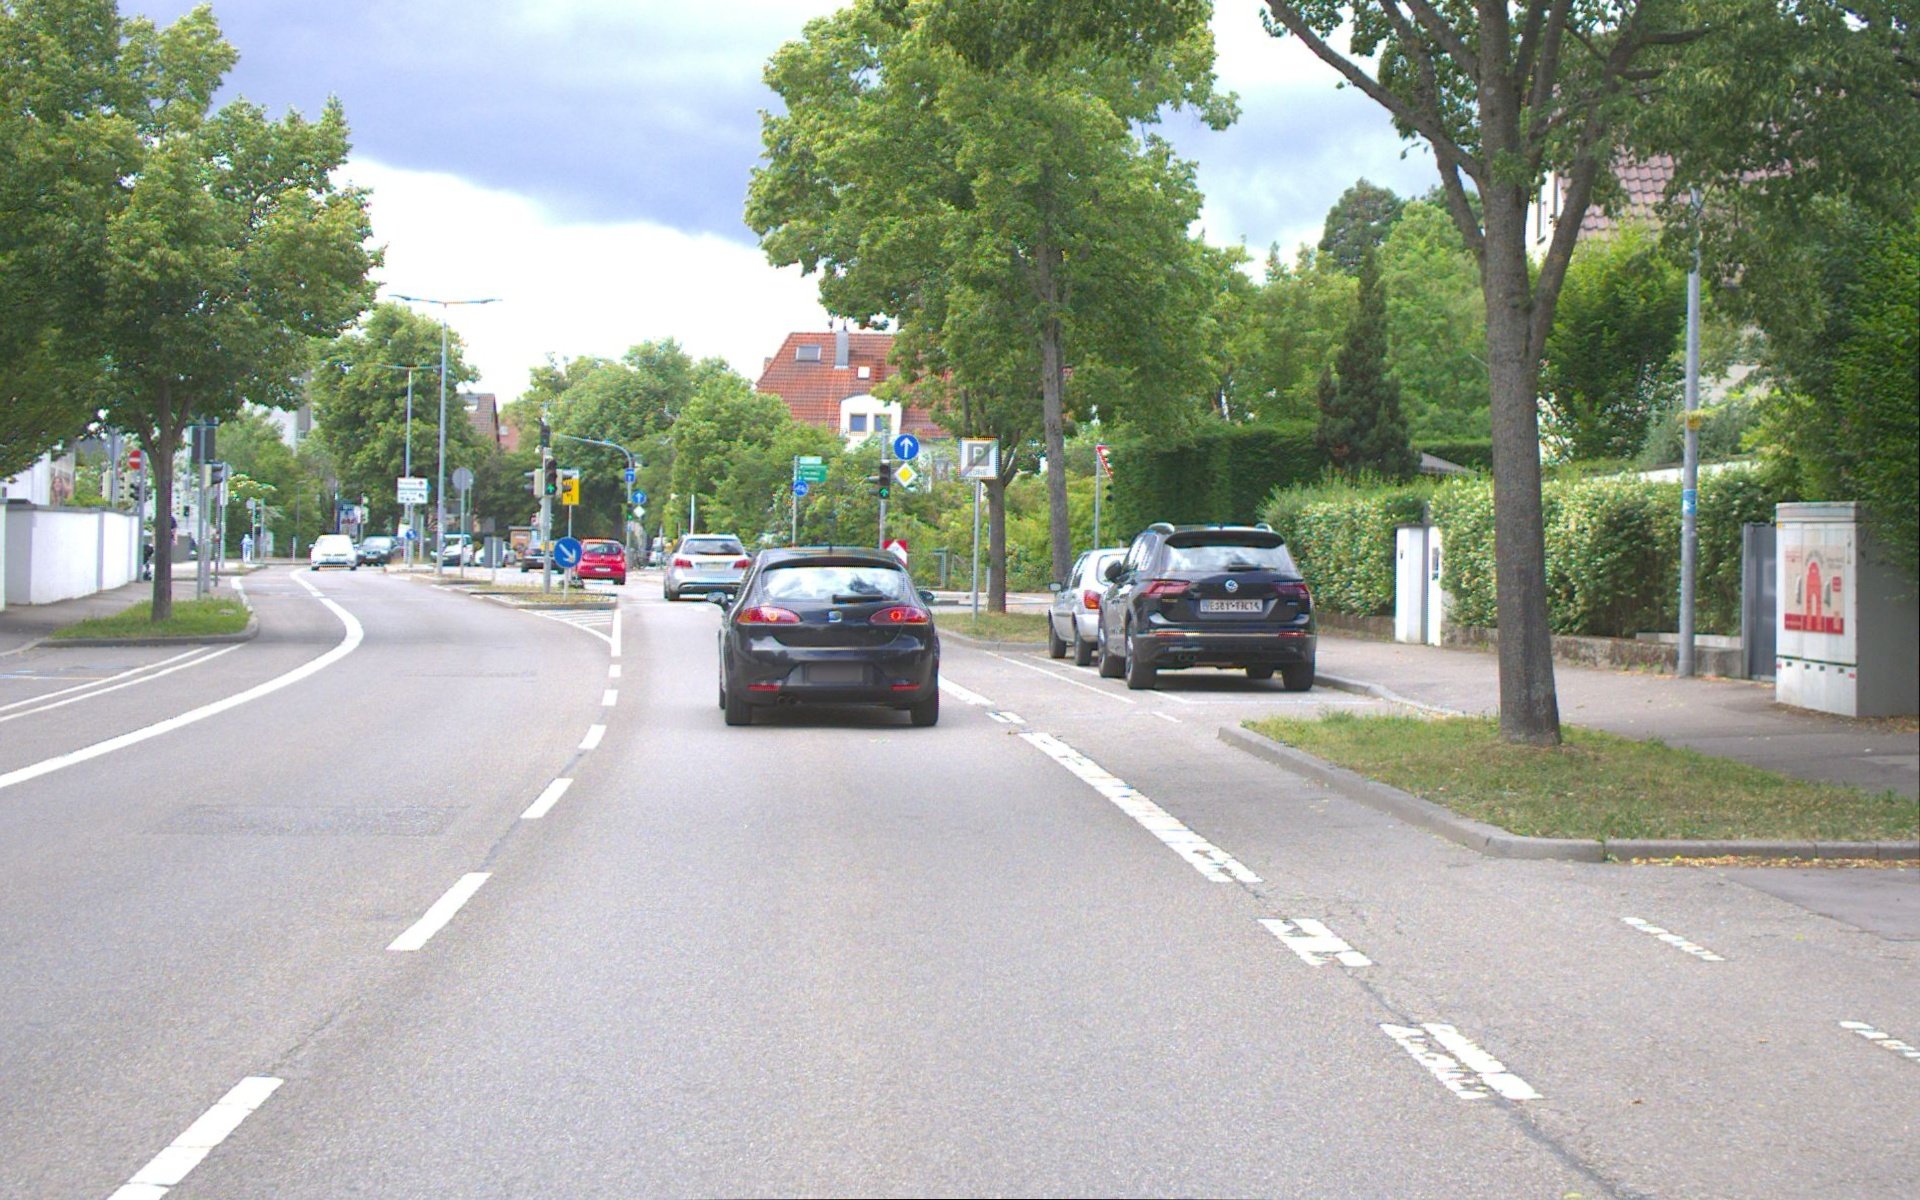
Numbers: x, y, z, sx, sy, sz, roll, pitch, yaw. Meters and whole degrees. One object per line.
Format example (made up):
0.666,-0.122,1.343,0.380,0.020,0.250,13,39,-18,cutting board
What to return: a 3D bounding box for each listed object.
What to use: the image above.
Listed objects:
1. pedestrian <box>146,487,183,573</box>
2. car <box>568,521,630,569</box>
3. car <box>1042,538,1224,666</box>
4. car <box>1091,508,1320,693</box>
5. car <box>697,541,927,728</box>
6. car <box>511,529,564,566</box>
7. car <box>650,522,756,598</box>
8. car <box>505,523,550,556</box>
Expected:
-19.095,-1.669,82.499,0.752,2.047,0.725,1,0,-8,pedestrian
-11.971,-1.814,113.822,1.993,1.525,4.001,0,1,-6,car
2.027,0.002,41.099,1.685,1.444,3.580,1,1,-5,car
2.442,-0.020,35.087,1.788,1.765,3.983,1,1,-4,car
-1.181,0.252,28.707,1.783,1.444,3.558,1,1,-1,car
-18.175,-2.264,148.087,1.993,1.503,4.000,1,0,-3,car
-5.699,-0.861,75.875,1.993,1.552,4.001,-2,0,-9,car
-22.693,-3.192,180.573,1.973,1.670,3.877,1,1,-2,car
